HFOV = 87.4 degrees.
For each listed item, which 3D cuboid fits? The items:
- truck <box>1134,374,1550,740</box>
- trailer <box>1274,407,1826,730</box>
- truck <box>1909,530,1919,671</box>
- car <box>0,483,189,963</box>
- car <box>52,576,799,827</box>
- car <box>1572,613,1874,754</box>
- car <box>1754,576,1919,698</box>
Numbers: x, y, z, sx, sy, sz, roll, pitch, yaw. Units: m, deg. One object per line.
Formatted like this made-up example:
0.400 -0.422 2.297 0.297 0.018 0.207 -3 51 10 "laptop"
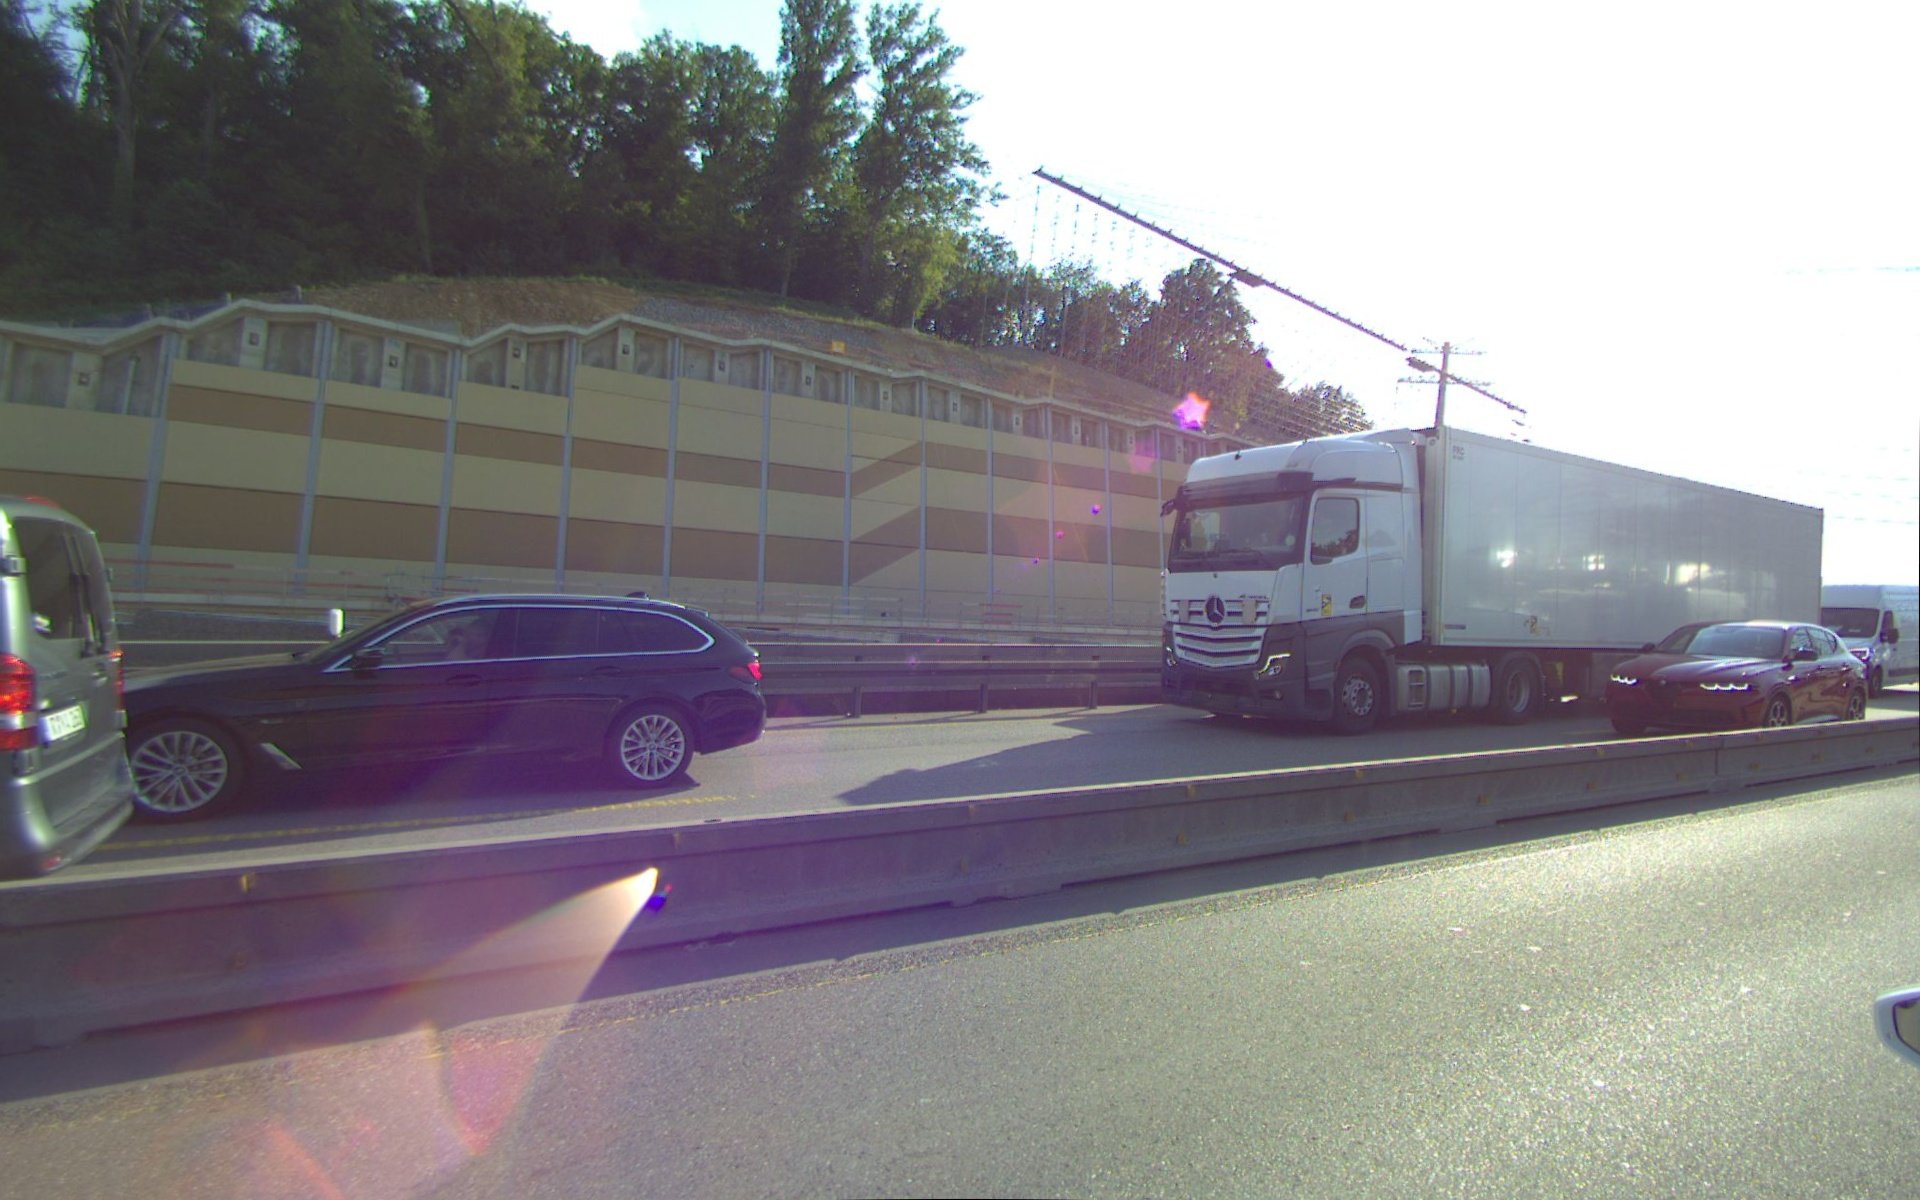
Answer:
5.546 -0.429 14.373 5.621 4.274 2.697 2 0 -33 "truck"
11.337 -0.226 18.120 13.600 4.274 2.705 2 -1 -33 "trailer"
32.689 0.109 31.716 5.873 4.357 2.728 2 0 -34 "truck"
-6.089 0.439 3.326 5.388 1.796 1.796 0 1 -30 "car"
-3.782 0.669 7.892 4.659 1.479 1.734 2 -1 -31 "car"
10.533 1.021 13.794 4.406 1.589 1.877 1 1 -33 "car"
22.632 0.850 25.213 6.872 2.726 2.010 1 1 -32 "car"
